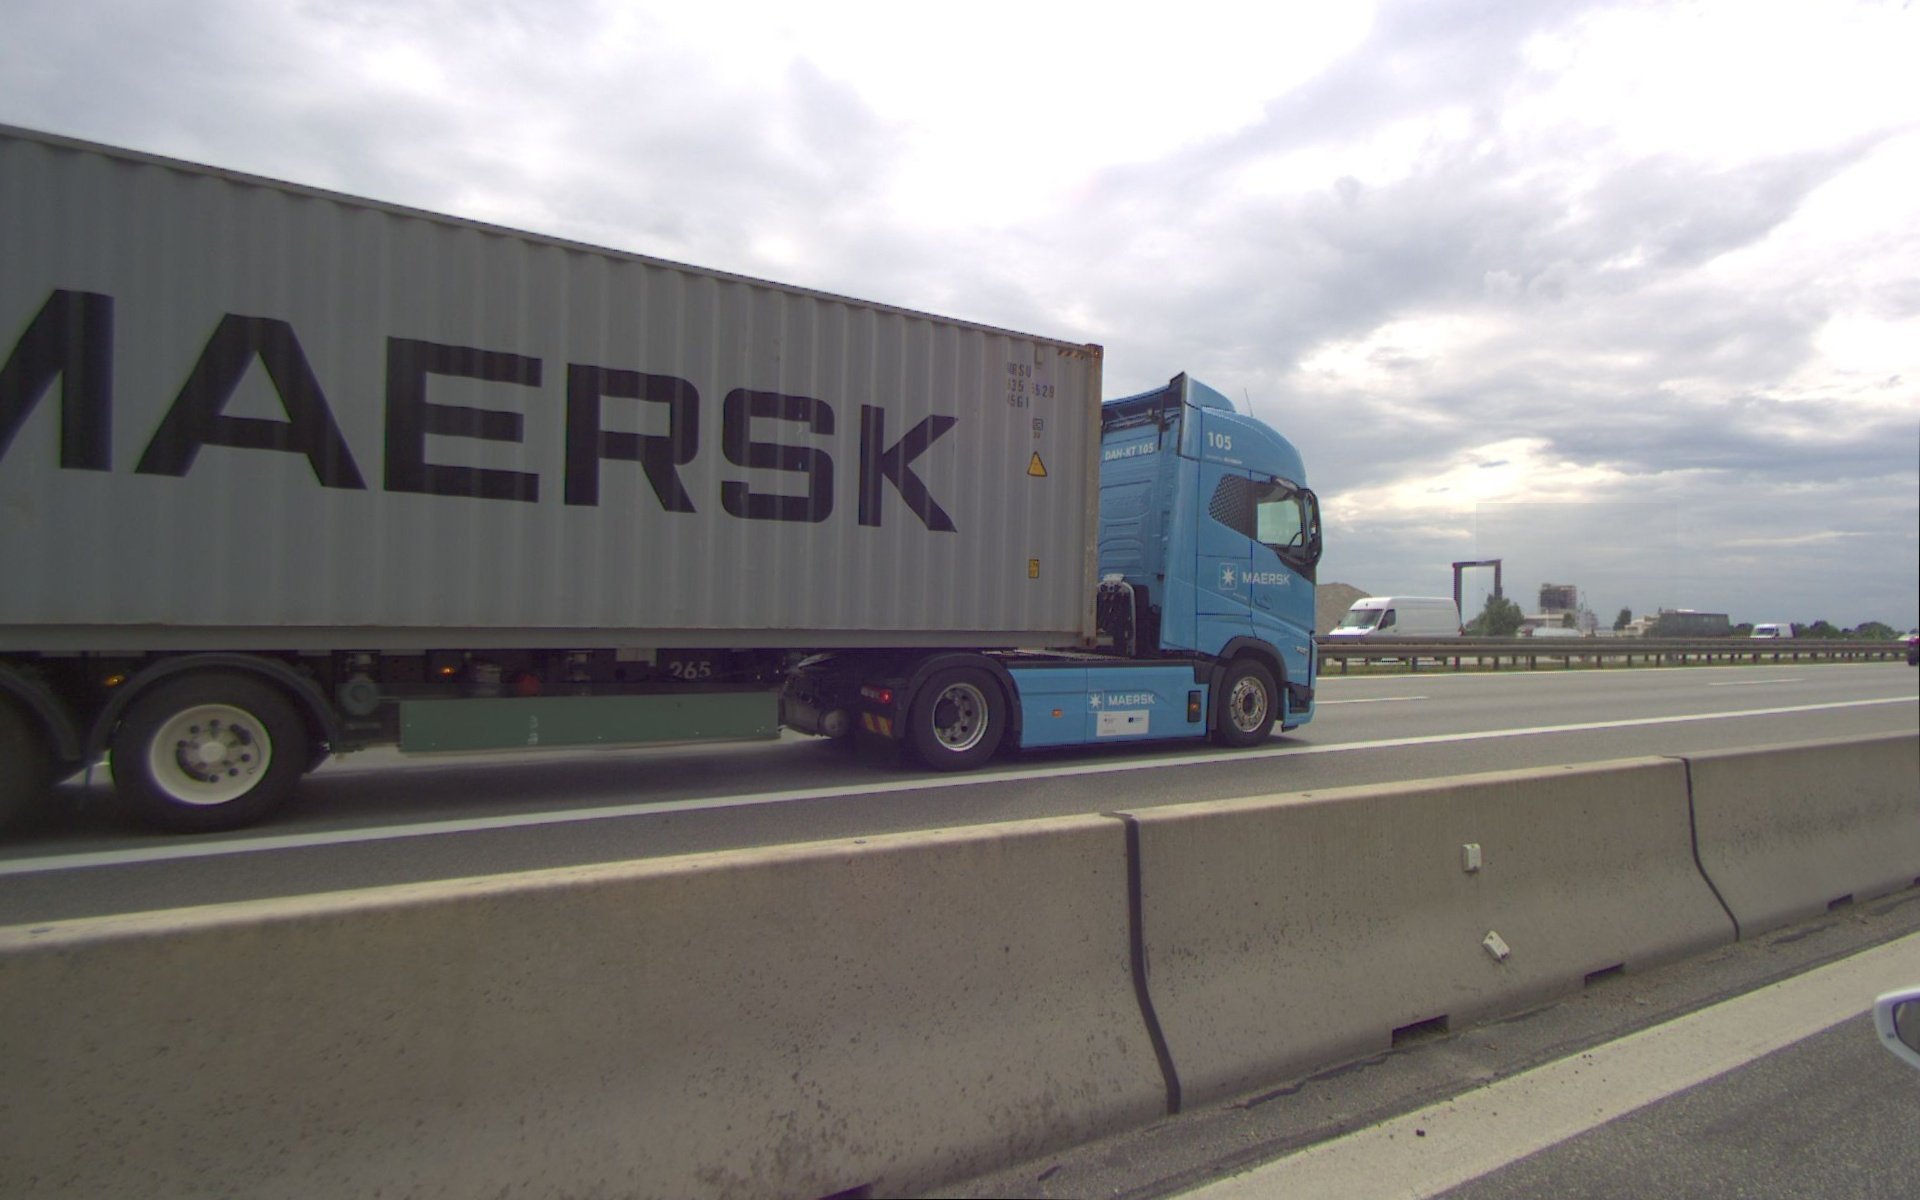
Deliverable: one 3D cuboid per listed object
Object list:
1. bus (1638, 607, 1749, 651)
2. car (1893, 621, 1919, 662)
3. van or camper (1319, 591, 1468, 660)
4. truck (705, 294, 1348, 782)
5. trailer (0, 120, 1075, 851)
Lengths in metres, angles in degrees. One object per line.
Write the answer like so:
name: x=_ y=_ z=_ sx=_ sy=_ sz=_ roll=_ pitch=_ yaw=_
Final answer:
bus: x=62.465 y=2.519 z=85.356 sx=12.853 sy=3.488 sz=3.195 roll=2 pitch=0 yaw=-33
car: x=39.787 y=1.697 z=40.669 sx=4.370 sy=1.619 sz=1.882 roll=2 pitch=0 yaw=-33
van or camper: x=17.850 y=1.049 z=41.197 sx=6.831 sy=2.654 sz=2.174 roll=1 pitch=0 yaw=-33
truck: x=0.868 y=-0.443 z=11.302 sx=6.537 sy=3.964 sz=3.229 roll=1 pitch=0 yaw=-32
trailer: x=-4.938 y=-0.606 z=7.586 sx=12.247 sy=3.976 sz=3.217 roll=2 pitch=0 yaw=-33
